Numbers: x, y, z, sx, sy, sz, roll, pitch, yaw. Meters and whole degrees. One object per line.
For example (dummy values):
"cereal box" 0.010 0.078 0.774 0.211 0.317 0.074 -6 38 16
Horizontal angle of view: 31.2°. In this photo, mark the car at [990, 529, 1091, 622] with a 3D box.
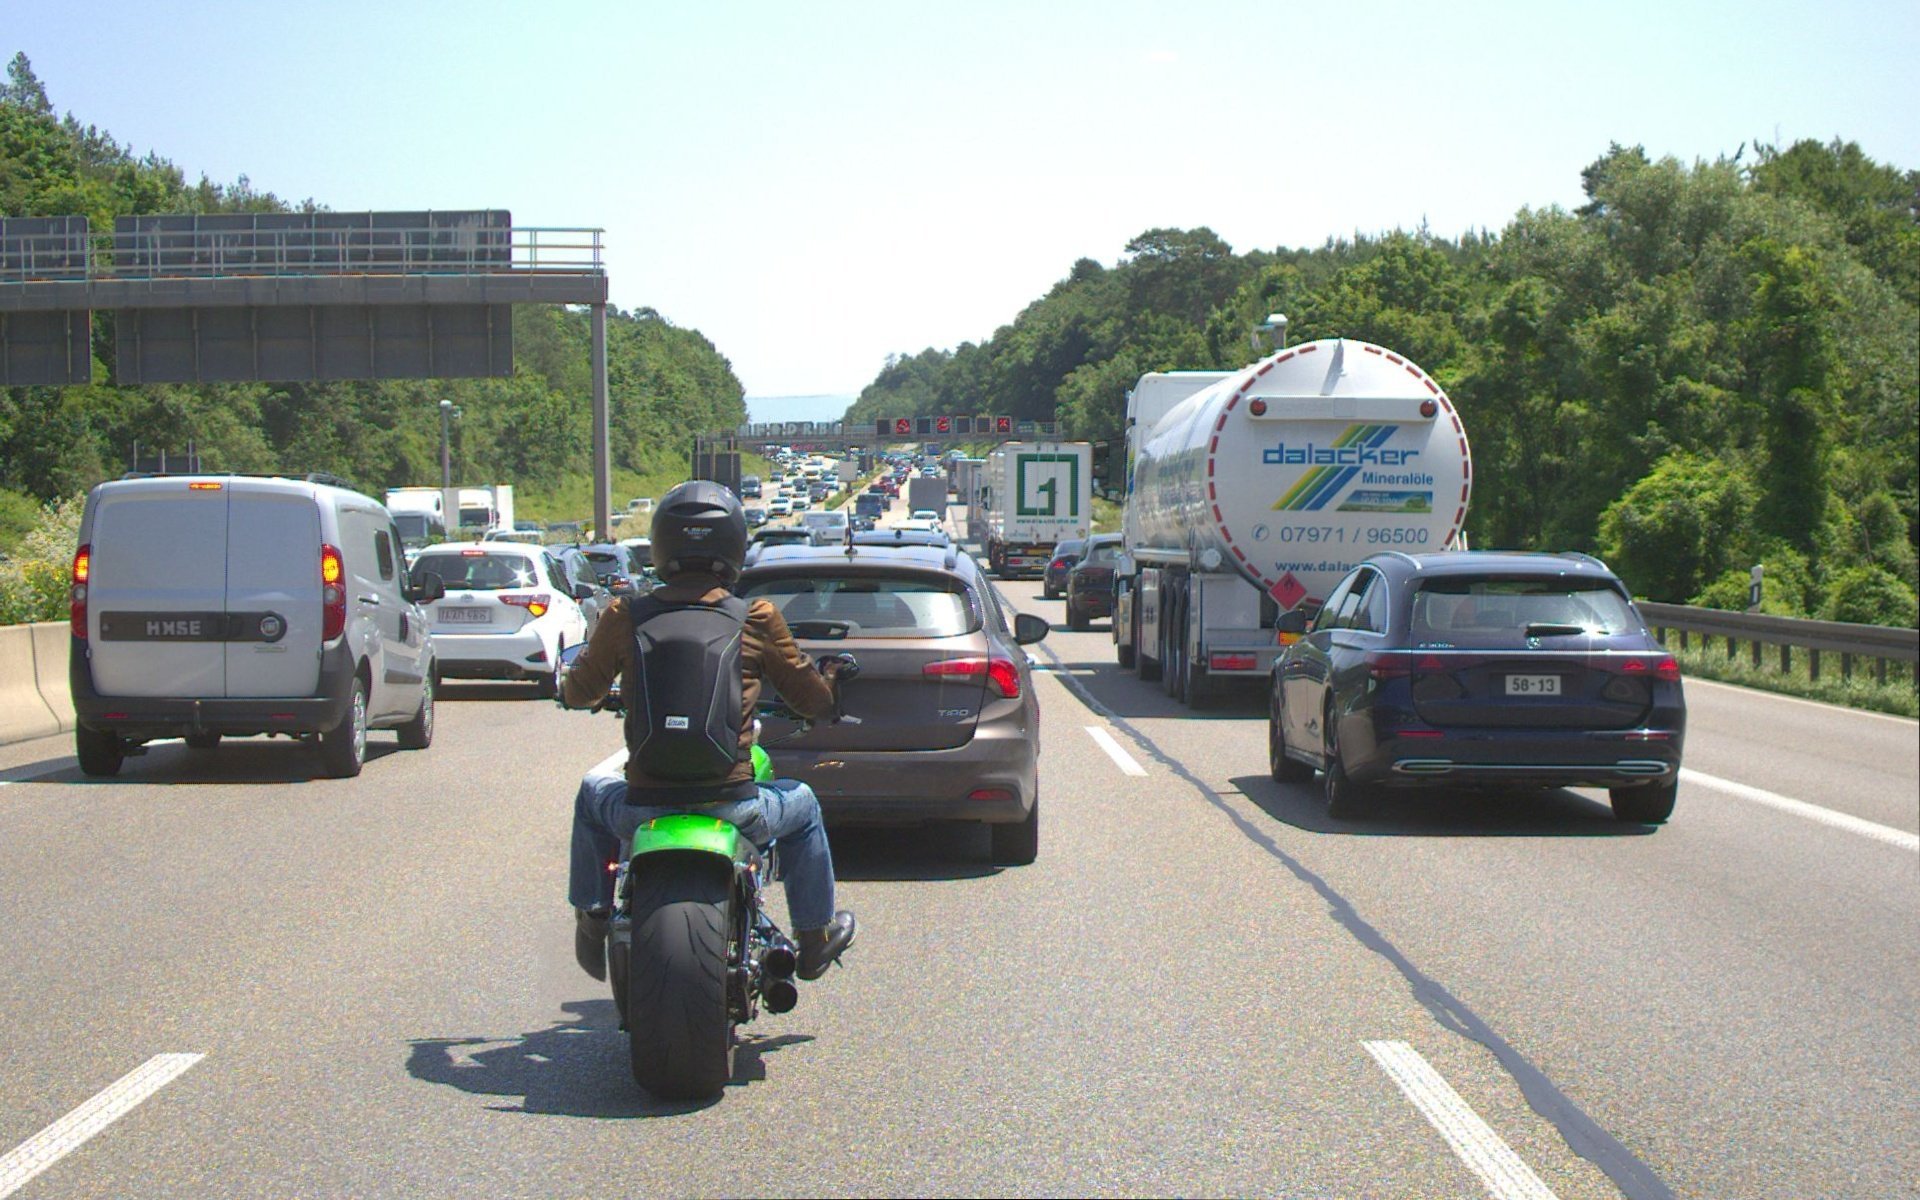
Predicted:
"car" 1.762 -0.535 76.714 1.993 2.007 4.000 1 0 -2

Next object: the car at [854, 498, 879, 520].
"car" -6.857 -6.716 253.200 1.770 1.550 4.000 0 1 0

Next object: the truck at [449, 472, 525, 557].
"truck" -23.368 -4.167 170.124 2.692 3.976 7.990 1 0 0

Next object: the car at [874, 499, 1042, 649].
"car" -0.065 -0.318 43.176 1.993 1.769 4.000 1 0 -1

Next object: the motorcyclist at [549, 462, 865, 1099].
"motorcyclist" -0.686 0.478 9.645 0.799 1.682 1.016 1 0 0

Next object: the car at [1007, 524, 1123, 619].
"car" 1.727 -0.472 57.827 1.776 1.522 4.000 1 0 0

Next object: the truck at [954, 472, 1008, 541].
"truck" 0.687 -2.995 111.011 1.591 2.104 3.751 1 0 2

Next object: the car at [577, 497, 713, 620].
"car" -5.327 -0.690 58.662 1.993 2.007 4.000 1 0 -1

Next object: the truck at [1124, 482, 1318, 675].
"truck" 4.241 -0.407 57.387 2.388 2.969 8.253 0 1 -1

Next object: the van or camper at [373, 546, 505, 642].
"van or camper" -11.341 -0.128 75.099 1.993 2.007 4.927 1 0 1

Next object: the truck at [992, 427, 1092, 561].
"truck" 2.539 -3.146 103.902 2.854 3.808 7.187 1 0 2

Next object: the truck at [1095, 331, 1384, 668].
"truck" 3.201 -1.113 41.010 2.828 3.658 6.429 1 0 0

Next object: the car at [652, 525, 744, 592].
"car" -5.887 -0.921 77.632 1.764 1.437 4.000 1 0 0

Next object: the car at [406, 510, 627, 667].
"car" -5.021 -0.135 39.485 1.993 1.678 4.330 1 0 0

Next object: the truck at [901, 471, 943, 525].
"truck" -2.489 -6.648 226.162 2.696 3.394 10.479 0 1 0

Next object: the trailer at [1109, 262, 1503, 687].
"trailer" 3.242 -1.102 35.213 2.828 3.658 10.733 1 0 0

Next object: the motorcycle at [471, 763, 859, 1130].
"motorcycle" -0.792 0.945 9.970 0.936 0.790 2.299 1 1 0

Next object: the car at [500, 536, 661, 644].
"car" -5.381 -0.142 49.146 1.993 1.459 4.000 1 0 -2

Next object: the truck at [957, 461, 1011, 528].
"truck" 1.218 -5.526 181.731 2.696 3.394 10.479 0 1 0

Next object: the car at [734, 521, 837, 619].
"car" -3.683 -0.633 73.143 1.993 2.007 4.000 1 0 0

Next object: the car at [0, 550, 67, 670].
"car" -15.042 0.136 51.600 1.993 1.757 4.451 1 0 1

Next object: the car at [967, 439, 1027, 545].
"car" 1.423 -4.193 135.909 2.167 3.879 9.330 1 0 0

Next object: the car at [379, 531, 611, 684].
"car" -4.547 0.064 34.138 1.776 1.406 4.000 1 0 0

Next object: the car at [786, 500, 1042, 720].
"car" -0.407 0.074 29.127 1.993 1.705 4.000 1 0 -1

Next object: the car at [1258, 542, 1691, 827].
"car" 2.866 0.431 20.121 1.792 1.453 4.624 1 0 0

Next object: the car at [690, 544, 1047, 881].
"car" -0.414 0.460 16.996 1.541 1.445 4.000 1 1 0

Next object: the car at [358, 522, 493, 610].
"car" -9.300 -0.610 60.040 1.824 1.489 4.000 0 1 -1

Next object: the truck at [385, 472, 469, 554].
"truck" -19.774 -3.200 127.770 2.177 2.875 6.743 1 0 -1

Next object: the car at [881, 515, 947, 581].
"car" -1.429 -1.599 106.087 1.993 2.007 4.000 0 1 -1

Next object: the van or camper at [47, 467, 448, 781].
"van or camper" -4.653 0.086 23.089 1.853 1.874 4.562 1 1 -2

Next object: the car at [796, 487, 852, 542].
"car" -5.103 -3.201 129.353 1.993 2.007 4.000 0 1 0
